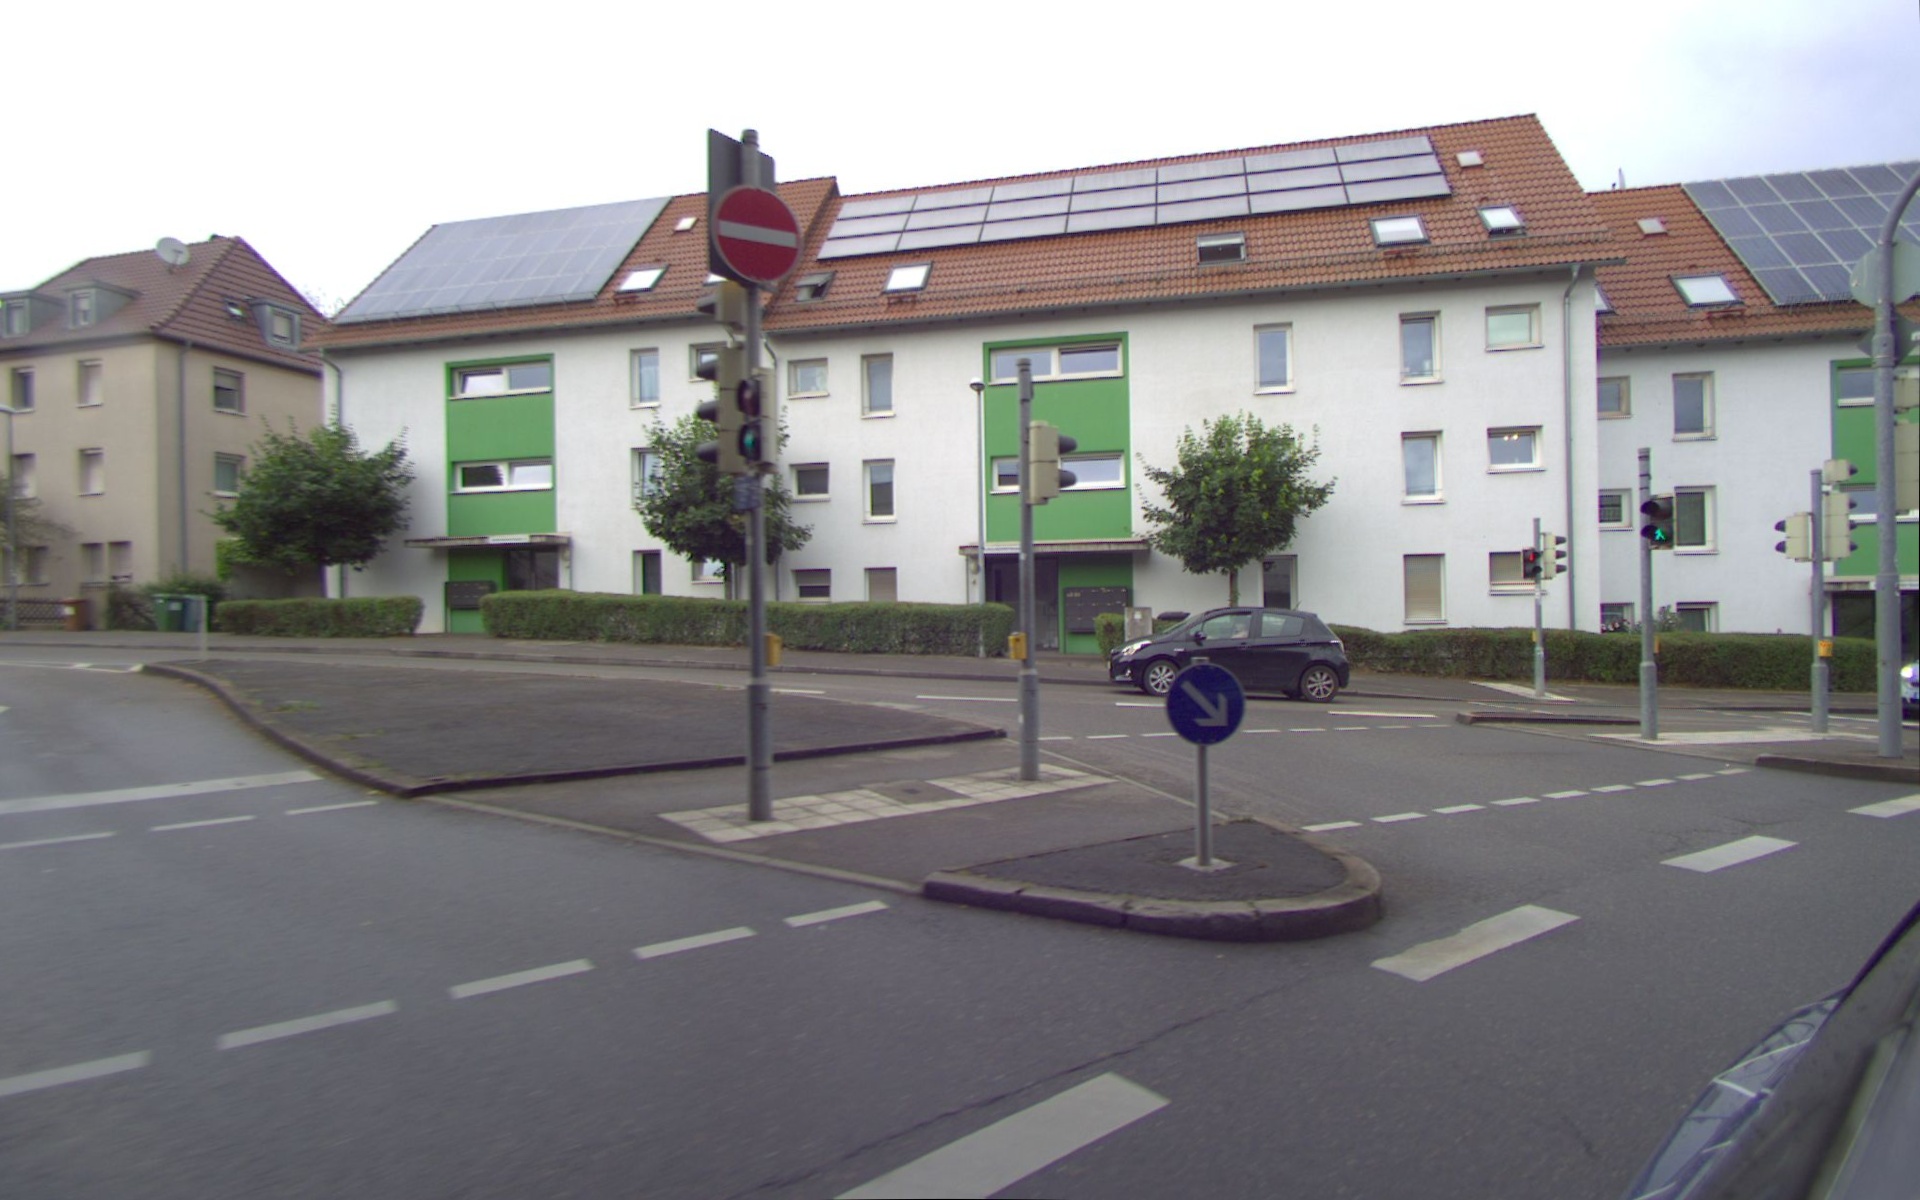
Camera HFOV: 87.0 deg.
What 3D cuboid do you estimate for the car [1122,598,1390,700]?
[{"bbox_3d":[4.734,0.776,16.625,3.929,1.477,1.643,1,-2,5],"label":"car"}]

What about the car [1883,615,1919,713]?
[{"bbox_3d":[17.217,1.065,16.155,3.556,1.577,1.646,1,-1,-4],"label":"car"}]
